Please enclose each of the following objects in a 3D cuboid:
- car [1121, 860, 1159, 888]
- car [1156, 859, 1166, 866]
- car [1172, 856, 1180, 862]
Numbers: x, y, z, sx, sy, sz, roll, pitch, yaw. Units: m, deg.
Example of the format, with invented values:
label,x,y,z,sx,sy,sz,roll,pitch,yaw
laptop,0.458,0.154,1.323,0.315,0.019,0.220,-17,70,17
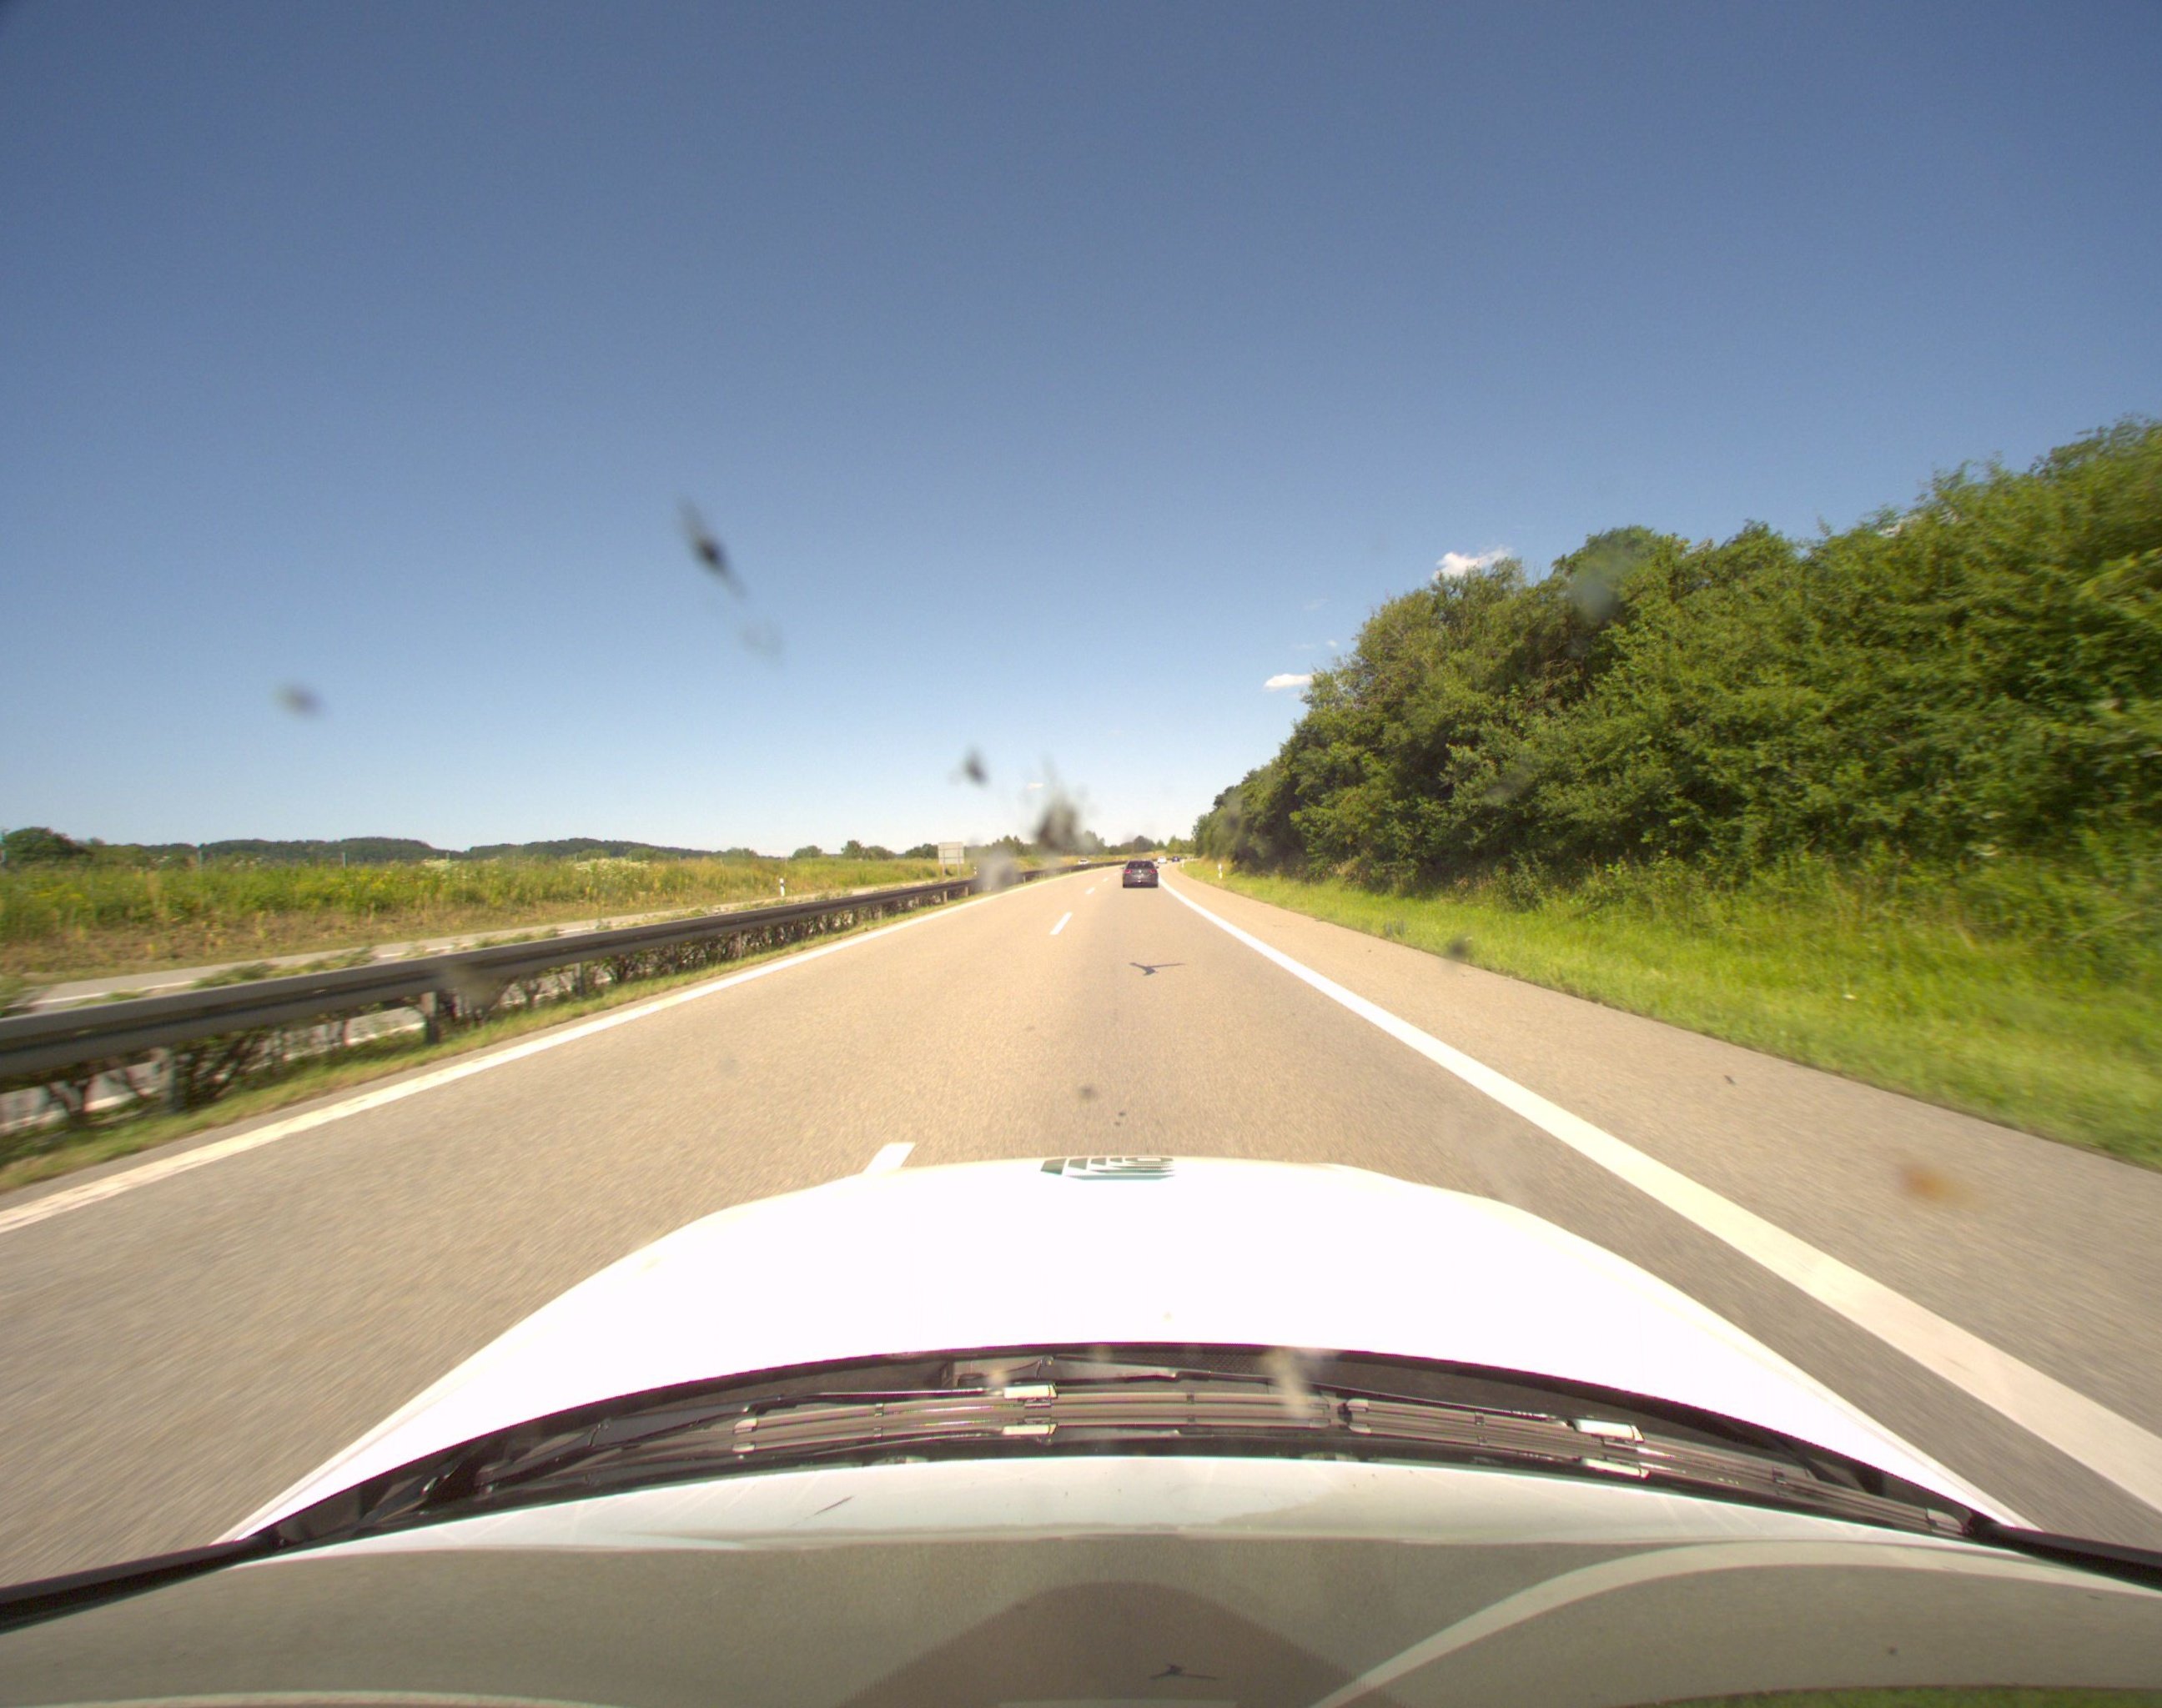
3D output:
label,x,y,z,sx,sy,sz,roll,pitch,yaw
car,2.927,0.984,41.151,1.784,1.344,4.002,0,-1,2
car,16.742,1.797,171.363,1.998,1.345,4.004,1,-1,4
car,23.517,1.192,201.786,1.699,1.387,3.366,0,-1,13
